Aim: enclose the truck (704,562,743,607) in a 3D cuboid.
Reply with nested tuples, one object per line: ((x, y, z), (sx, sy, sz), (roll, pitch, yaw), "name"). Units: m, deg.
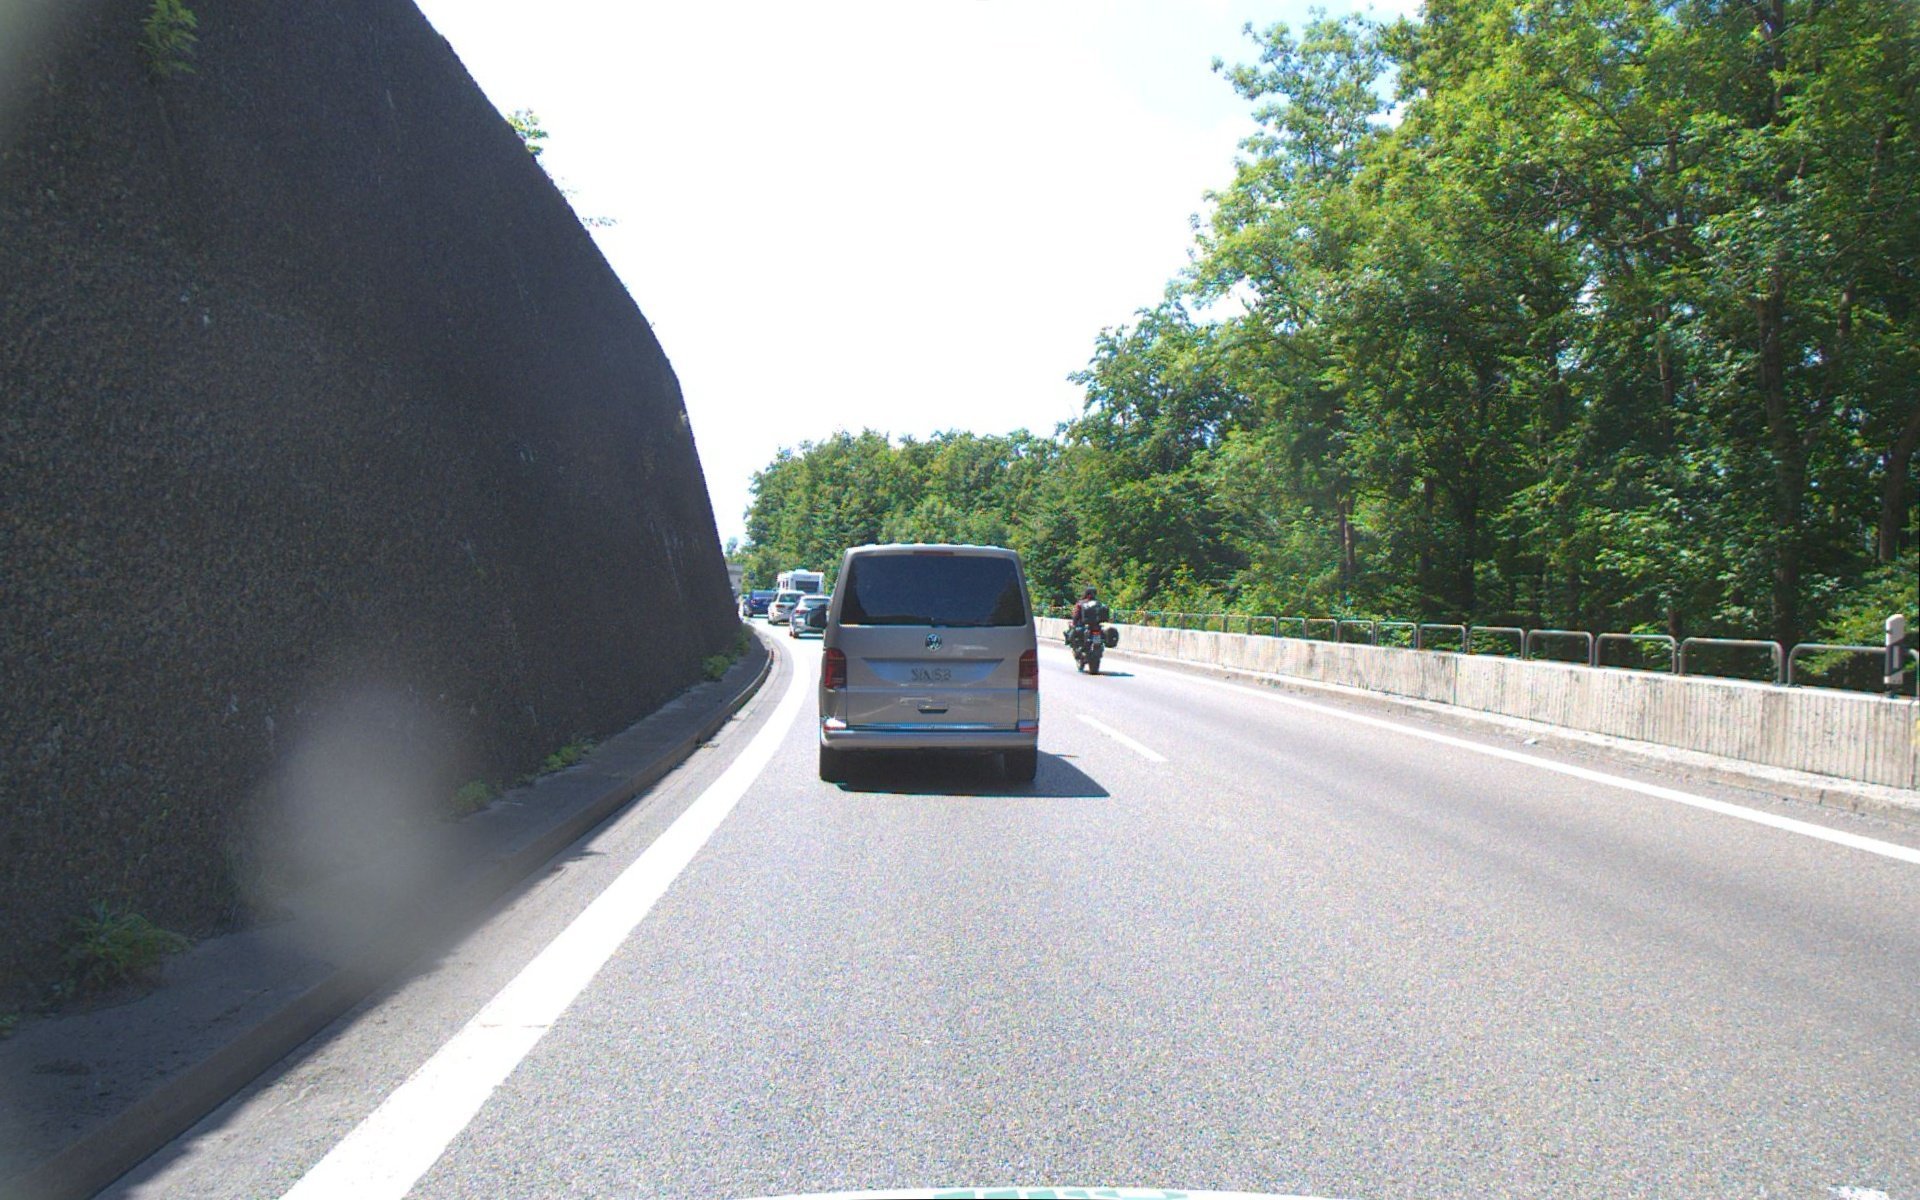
((-21.078, -1.375, 147.093), (2.874, 3.751, 7.701), (2, 0, -12), "truck")

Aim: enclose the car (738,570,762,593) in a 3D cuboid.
((-19.909, -1.751, 156.520), (1.958, 2.049, 3.990), (2, 0, -11), "car")

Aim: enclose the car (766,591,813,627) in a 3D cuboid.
((-7.695, 0.377, 74.491), (1.829, 1.512, 3.991), (2, 0, -10), "car")

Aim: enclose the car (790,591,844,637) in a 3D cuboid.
((-4.887, 0.473, 57.008), (1.736, 1.498, 3.997), (1, 0, -4), "car")

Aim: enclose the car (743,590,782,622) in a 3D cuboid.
((-10.676, 0.331, 89.013), (1.824, 1.648, 3.990), (1, 0, -10), "car")

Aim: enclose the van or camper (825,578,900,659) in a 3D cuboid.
((-2.587, 0.458, 43.096), (1.817, 1.976, 4.160), (1, 0, -5), "van or camper")

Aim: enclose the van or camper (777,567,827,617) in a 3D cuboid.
((-10.212, -0.535, 106.316), (2.556, 2.904, 6.323), (6, 0, -9), "van or camper")

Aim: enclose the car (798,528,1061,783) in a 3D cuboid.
((-0.455, 0.439, 15.379), (1.904, 1.965, 4.687), (2, 0, -7), "car")

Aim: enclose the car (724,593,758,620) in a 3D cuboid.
((-13.961, 0.398, 105.423), (1.957, 1.646, 3.990), (1, 0, -10), "car")

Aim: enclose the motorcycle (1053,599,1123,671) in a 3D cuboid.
((2.697, 0.722, 35.171), (0.954, 1.444, 2.677), (2, 0, -7), "motorcycle")

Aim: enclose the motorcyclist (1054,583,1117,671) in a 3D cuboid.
((2.675, 0.564, 35.291), (1.041, 1.832, 1.335), (2, 0, -8), "motorcyclist")
